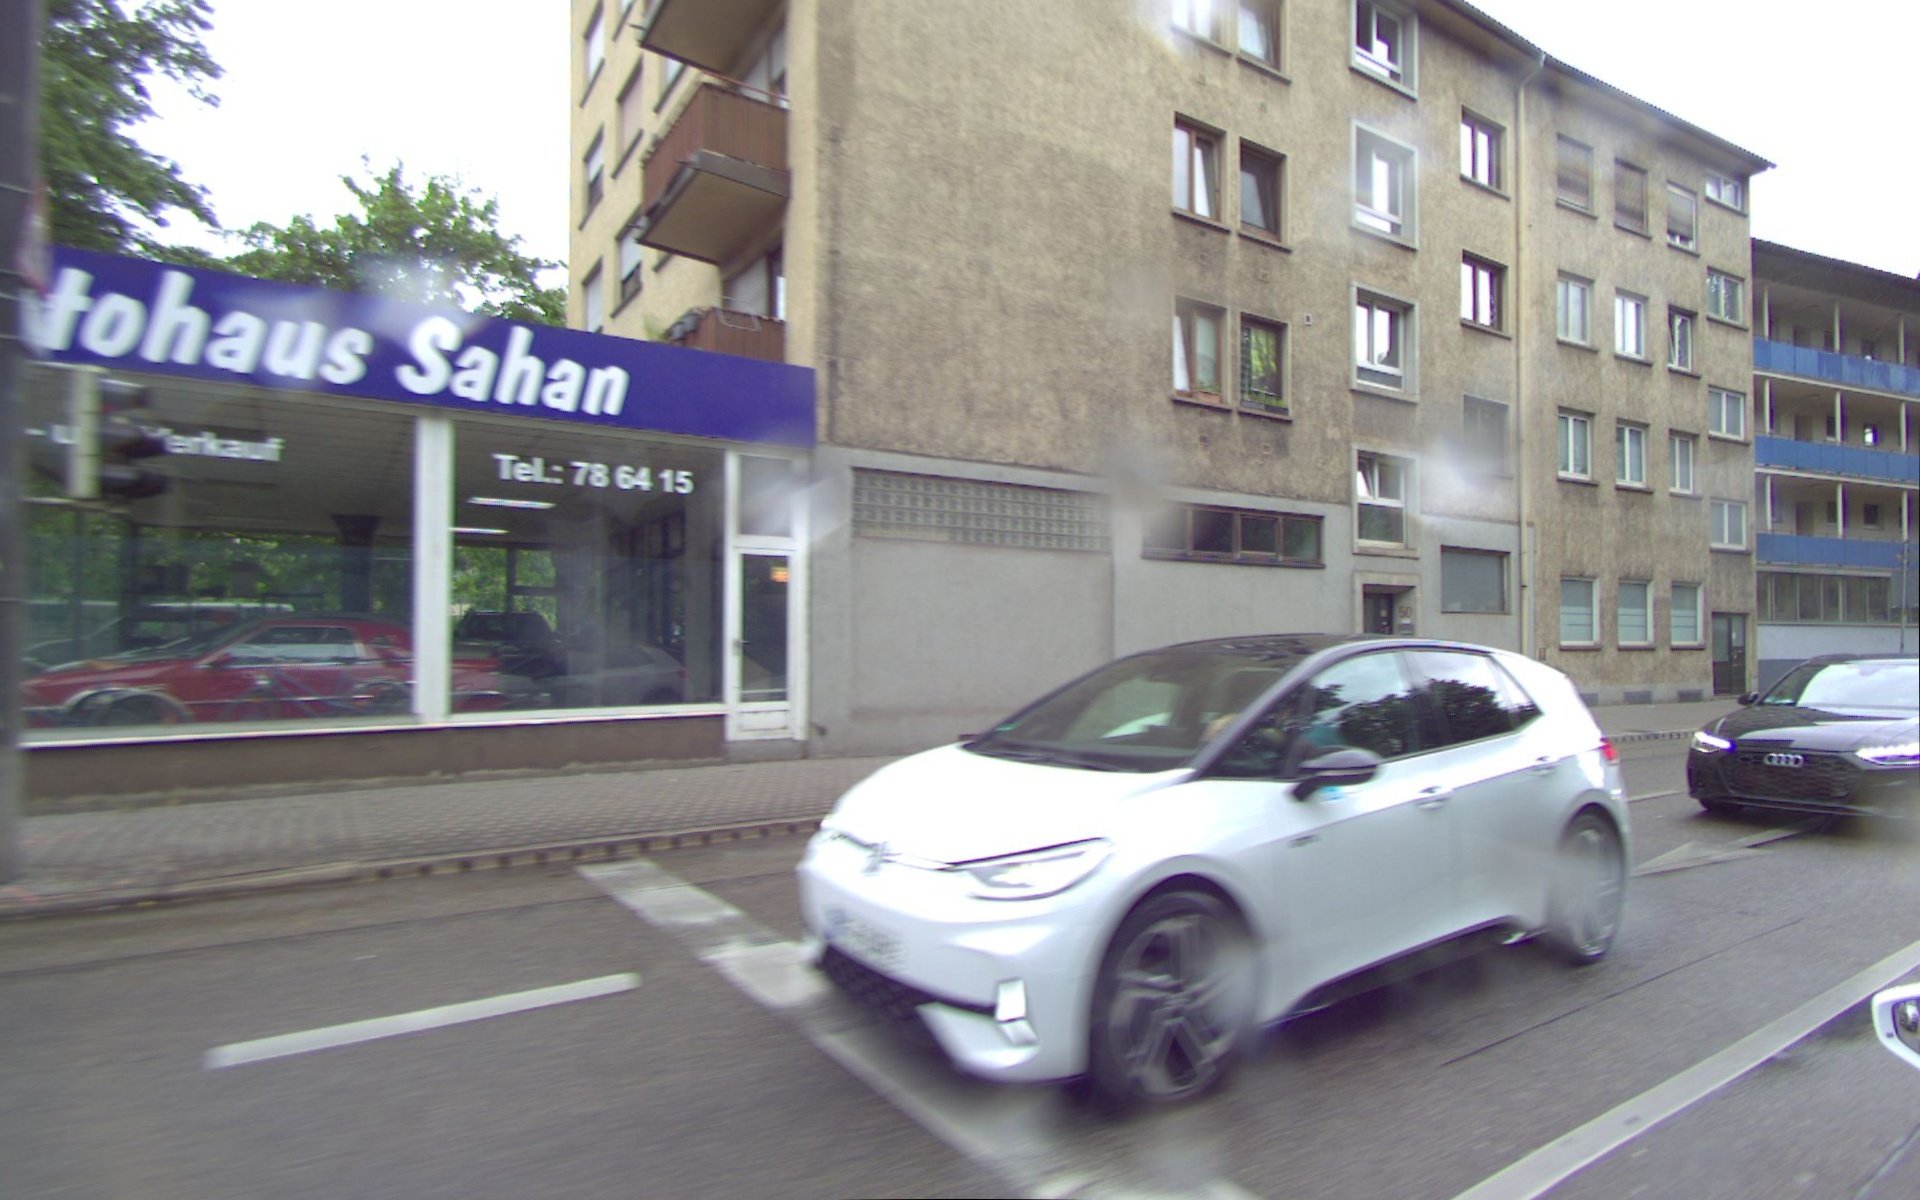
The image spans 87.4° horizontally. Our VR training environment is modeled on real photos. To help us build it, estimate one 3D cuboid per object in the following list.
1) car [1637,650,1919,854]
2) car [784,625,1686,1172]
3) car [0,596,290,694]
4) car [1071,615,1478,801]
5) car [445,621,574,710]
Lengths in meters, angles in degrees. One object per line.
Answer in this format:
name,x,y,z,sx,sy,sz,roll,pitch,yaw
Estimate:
car,8.255,1.169,9.080,4.572,1.425,1.782,1,-3,-31
car,1.458,0.926,4.723,4.171,1.515,1.775,2,-4,-33
car,-16.997,0.935,21.137,4.702,1.854,1.961,2,-3,-38
car,3.134,0.946,9.775,3.958,1.474,1.648,1,-4,-34
car,-8.075,1.086,17.852,1.612,1.410,3.632,1,-2,-32
